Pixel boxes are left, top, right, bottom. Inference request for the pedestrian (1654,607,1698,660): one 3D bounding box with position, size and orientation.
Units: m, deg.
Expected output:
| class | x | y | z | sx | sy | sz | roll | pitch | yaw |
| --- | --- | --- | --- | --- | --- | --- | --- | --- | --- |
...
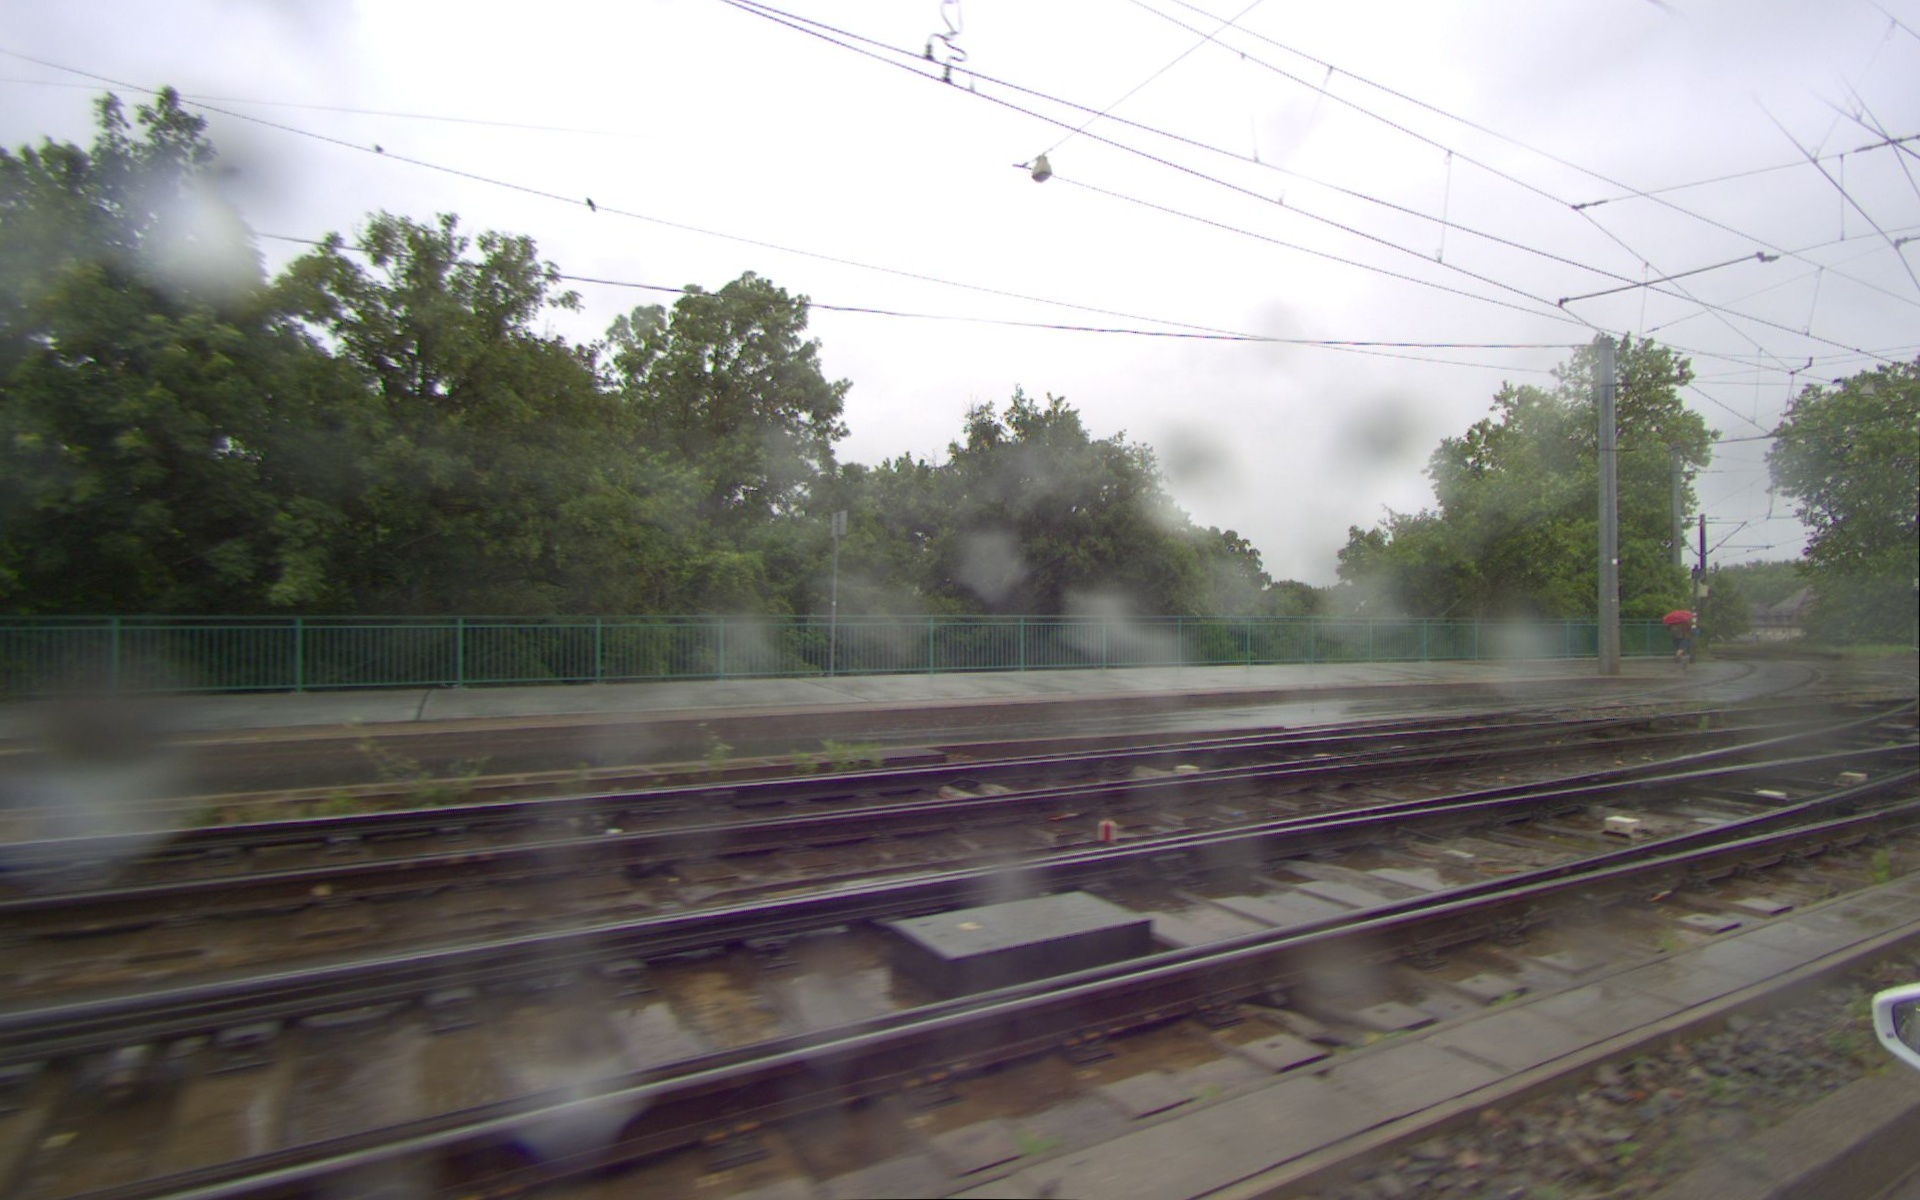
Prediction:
| class | x | y | z | sx | sy | sz | roll | pitch | yaw |
| --- | --- | --- | --- | --- | --- | --- | --- | --- | --- |
| pedestrian | 25.113 | 1.168 | 35.245 | 1.030 | 1.843 | 0.861 | 1 | 0 | -29 |
